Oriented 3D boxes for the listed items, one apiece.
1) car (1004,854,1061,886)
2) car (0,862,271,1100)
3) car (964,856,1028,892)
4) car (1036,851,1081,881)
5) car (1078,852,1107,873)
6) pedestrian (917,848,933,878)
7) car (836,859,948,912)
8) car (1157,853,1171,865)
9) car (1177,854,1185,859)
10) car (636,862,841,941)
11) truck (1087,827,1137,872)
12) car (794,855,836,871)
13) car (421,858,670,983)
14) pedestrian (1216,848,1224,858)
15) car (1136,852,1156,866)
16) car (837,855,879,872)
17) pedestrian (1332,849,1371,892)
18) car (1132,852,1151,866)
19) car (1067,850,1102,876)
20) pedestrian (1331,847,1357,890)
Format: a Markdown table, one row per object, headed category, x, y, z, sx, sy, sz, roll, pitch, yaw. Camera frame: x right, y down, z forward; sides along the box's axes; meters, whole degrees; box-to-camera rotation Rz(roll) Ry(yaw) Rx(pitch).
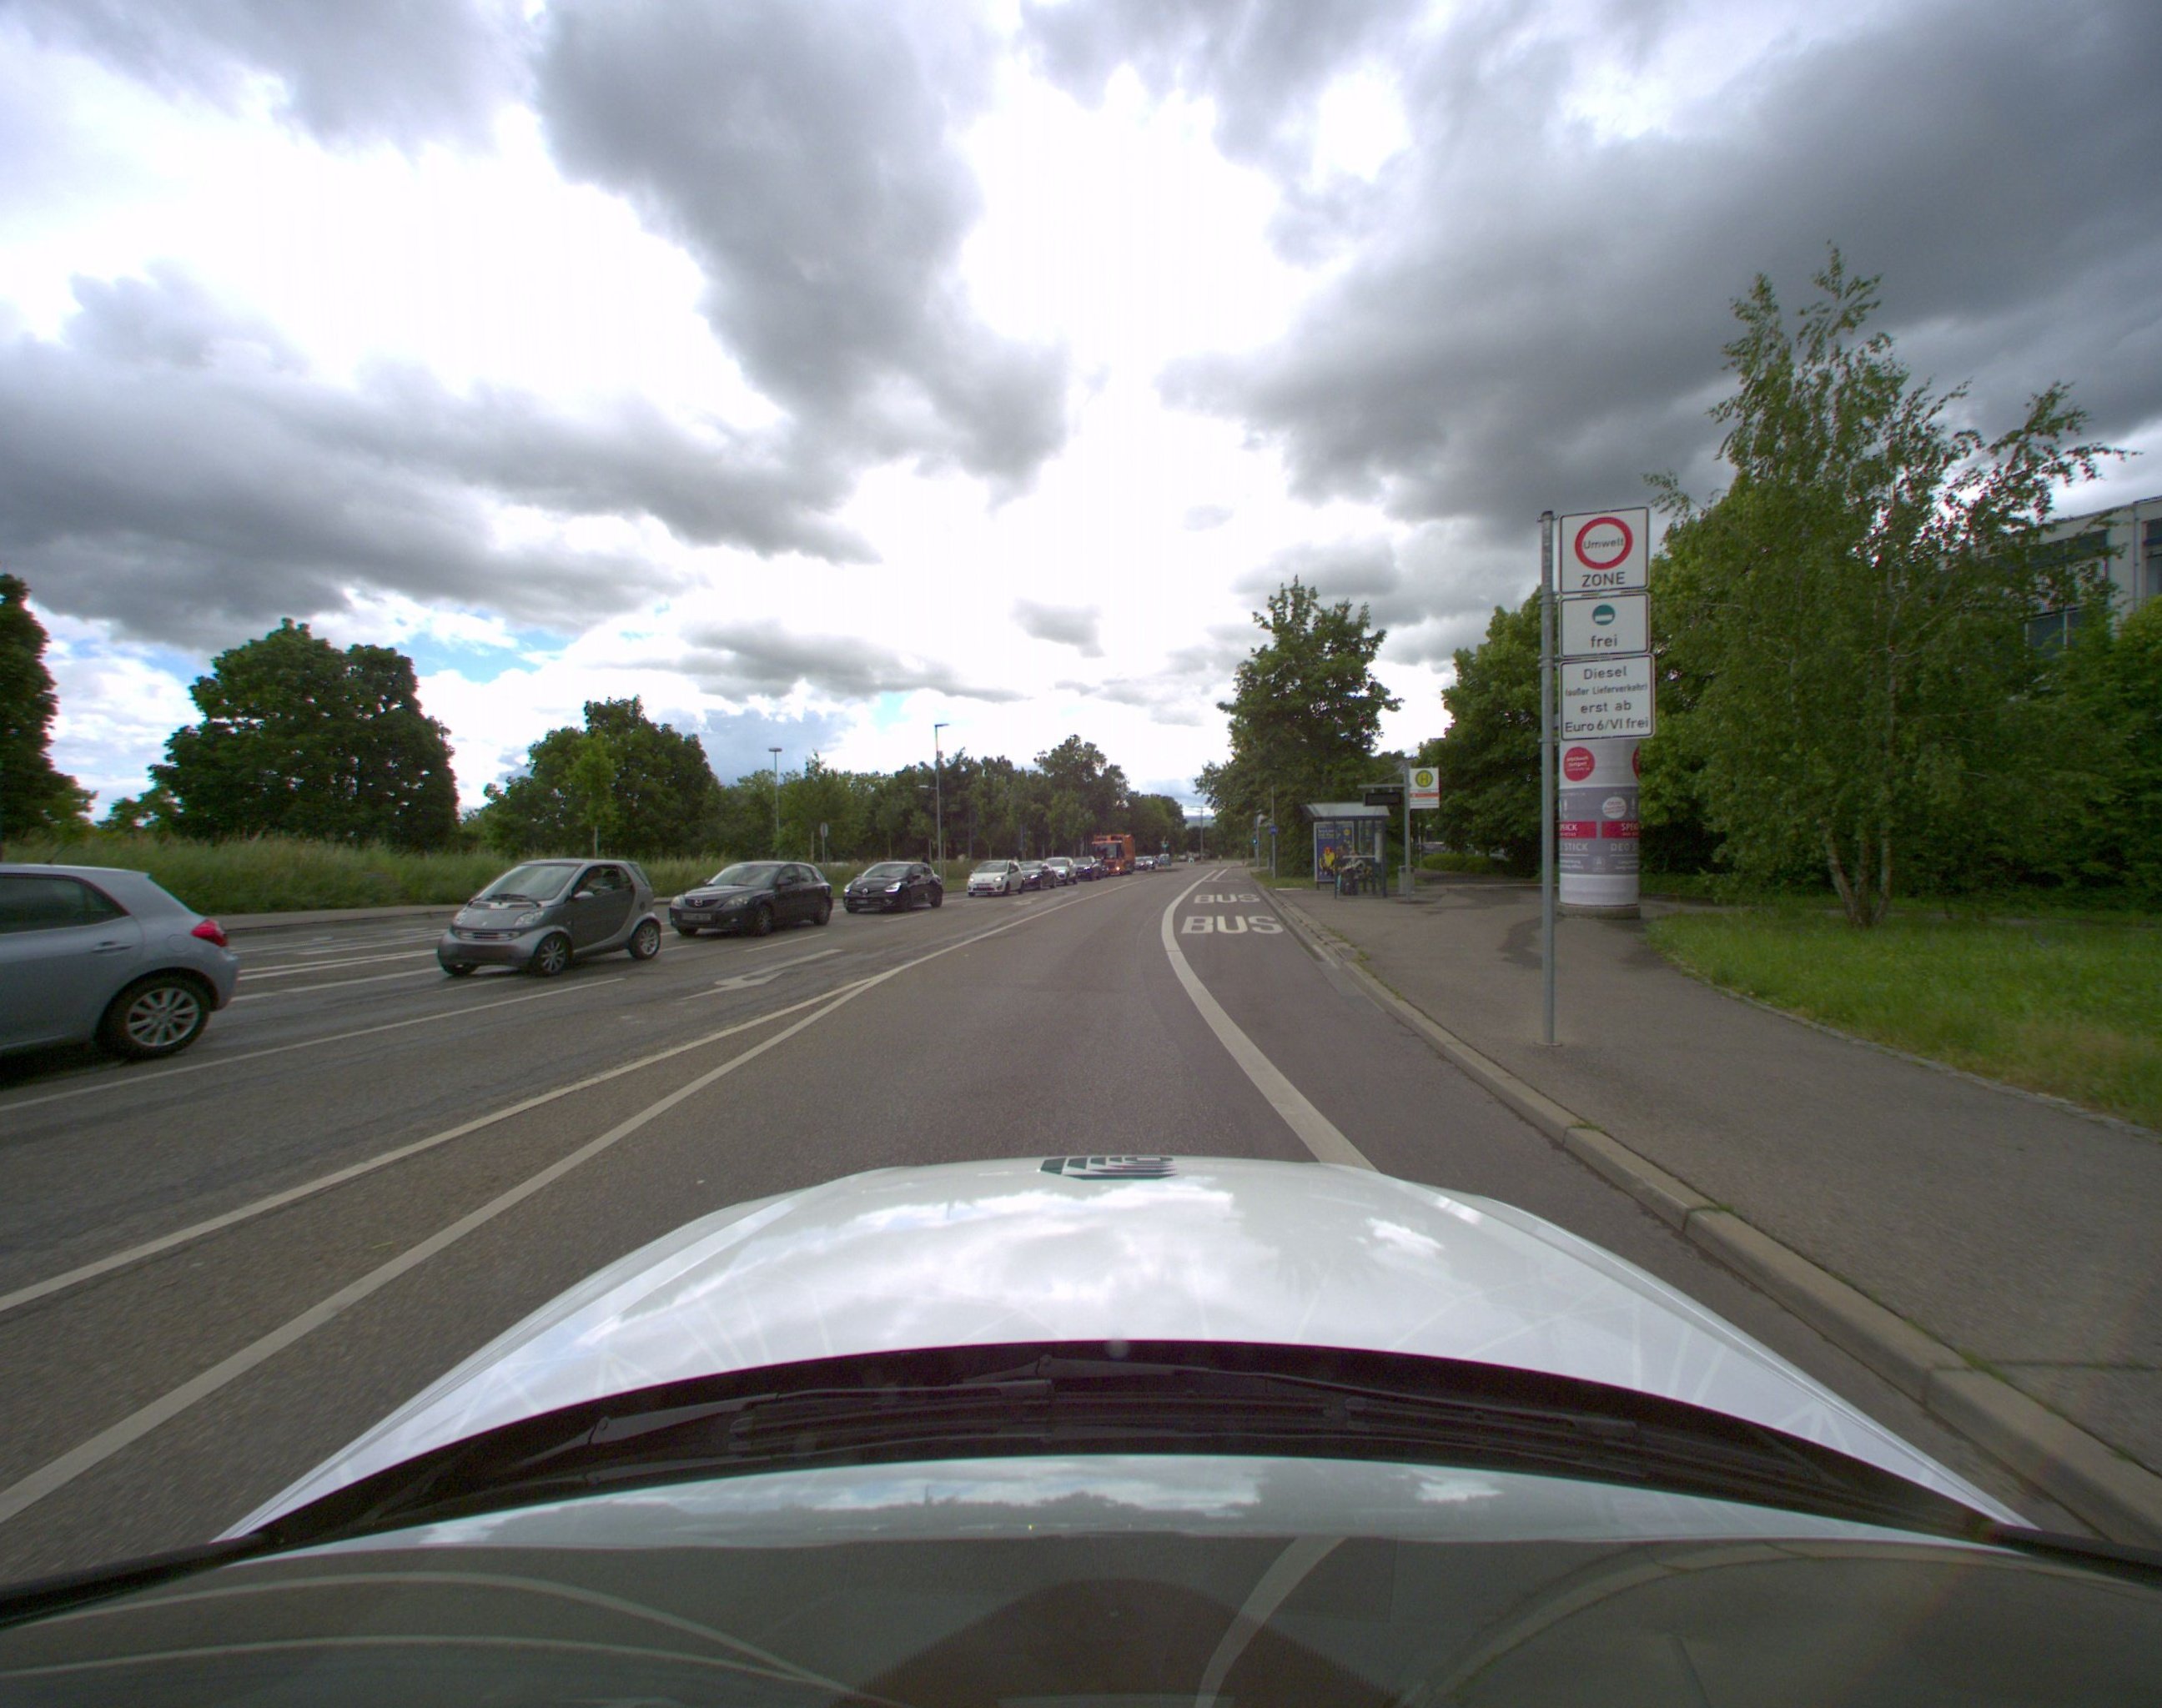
| category | x | y | z | sx | sy | sz | roll | pitch | yaw |
| --- | --- | --- | --- | --- | --- | --- | --- | --- | --- |
| car | -2.275 | 0.732 | 39.650 | 1.629 | 1.390 | 4.899 | -1 | 0 | 10 |
| car | -8.077 | 0.867 | 4.949 | 1.817 | 1.536 | 4.227 | -1 | 0 | 6 |
| car | -3.467 | 0.800 | 33.955 | 1.629 | 1.390 | 3.773 | -1 | 0 | 10 |
| car | -1.231 | 0.664 | 46.501 | 1.719 | 1.585 | 4.235 | -1 | 0 | 10 |
| car | 0.866 | 0.574 | 59.638 | 1.425 | 1.457 | 3.906 | -1 | 0 | 10 |
| pedestrian | -9.746 | 0.537 | 50.856 | 0.716 | 1.835 | 0.679 | -1 | -1 | 11 |
| car | -5.356 | 0.849 | 23.631 | 1.629 | 1.332 | 4.072 | -1 | 0 | 10 |
| car | 12.684 | 0.755 | 124.373 | 1.835 | 1.803 | 4.662 | -3 | -1 | 9 |
| car | 26.777 | 0.632 | 217.560 | 1.761 | 1.305 | 4.011 | -1 | 0 | 10 |
| car | -6.773 | 0.879 | 16.713 | 1.789 | 1.332 | 4.391 | -1 | 0 | 9 |
| truck | 2.779 | -0.391 | 69.013 | 2.688 | 3.487 | 10.025 | -1 | 0 | 11 |
| car | -35.398 | 1.203 | 108.365 | 4.939 | 2.014 | 2.004 | -2 | -1 | 8 |
| car | -7.401 | 0.843 | 11.555 | 1.420 | 1.527 | 2.781 | -1 | 0 | 8 |
| pedestrian | 20.047 | -0.099 | 117.404 | 0.788 | 1.463 | 0.747 | -2 | -1 | -8 |
| car | 7.608 | 0.598 | 94.536 | 1.835 | 1.520 | 4.828 | -3 | -1 | 9 |
| car | -30.414 | 1.264 | 111.158 | 4.941 | 2.190 | 2.003 | -2 | -1 | 6 |
| pedestrian | 8.054 | 0.484 | 24.236 | 0.778 | 1.252 | 0.765 | -1 | 0 | -31 |
| car | 6.438 | 0.507 | 86.366 | 1.538 | 1.331 | 3.664 | -3 | -1 | 10 |
| car | 0.268 | 0.577 | 54.101 | 1.629 | 1.585 | 4.072 | -1 | 0 | 10 |
| pedestrian | 8.267 | 0.447 | 25.619 | 0.723 | 1.316 | 0.591 | -1 | 0 | 12 |
